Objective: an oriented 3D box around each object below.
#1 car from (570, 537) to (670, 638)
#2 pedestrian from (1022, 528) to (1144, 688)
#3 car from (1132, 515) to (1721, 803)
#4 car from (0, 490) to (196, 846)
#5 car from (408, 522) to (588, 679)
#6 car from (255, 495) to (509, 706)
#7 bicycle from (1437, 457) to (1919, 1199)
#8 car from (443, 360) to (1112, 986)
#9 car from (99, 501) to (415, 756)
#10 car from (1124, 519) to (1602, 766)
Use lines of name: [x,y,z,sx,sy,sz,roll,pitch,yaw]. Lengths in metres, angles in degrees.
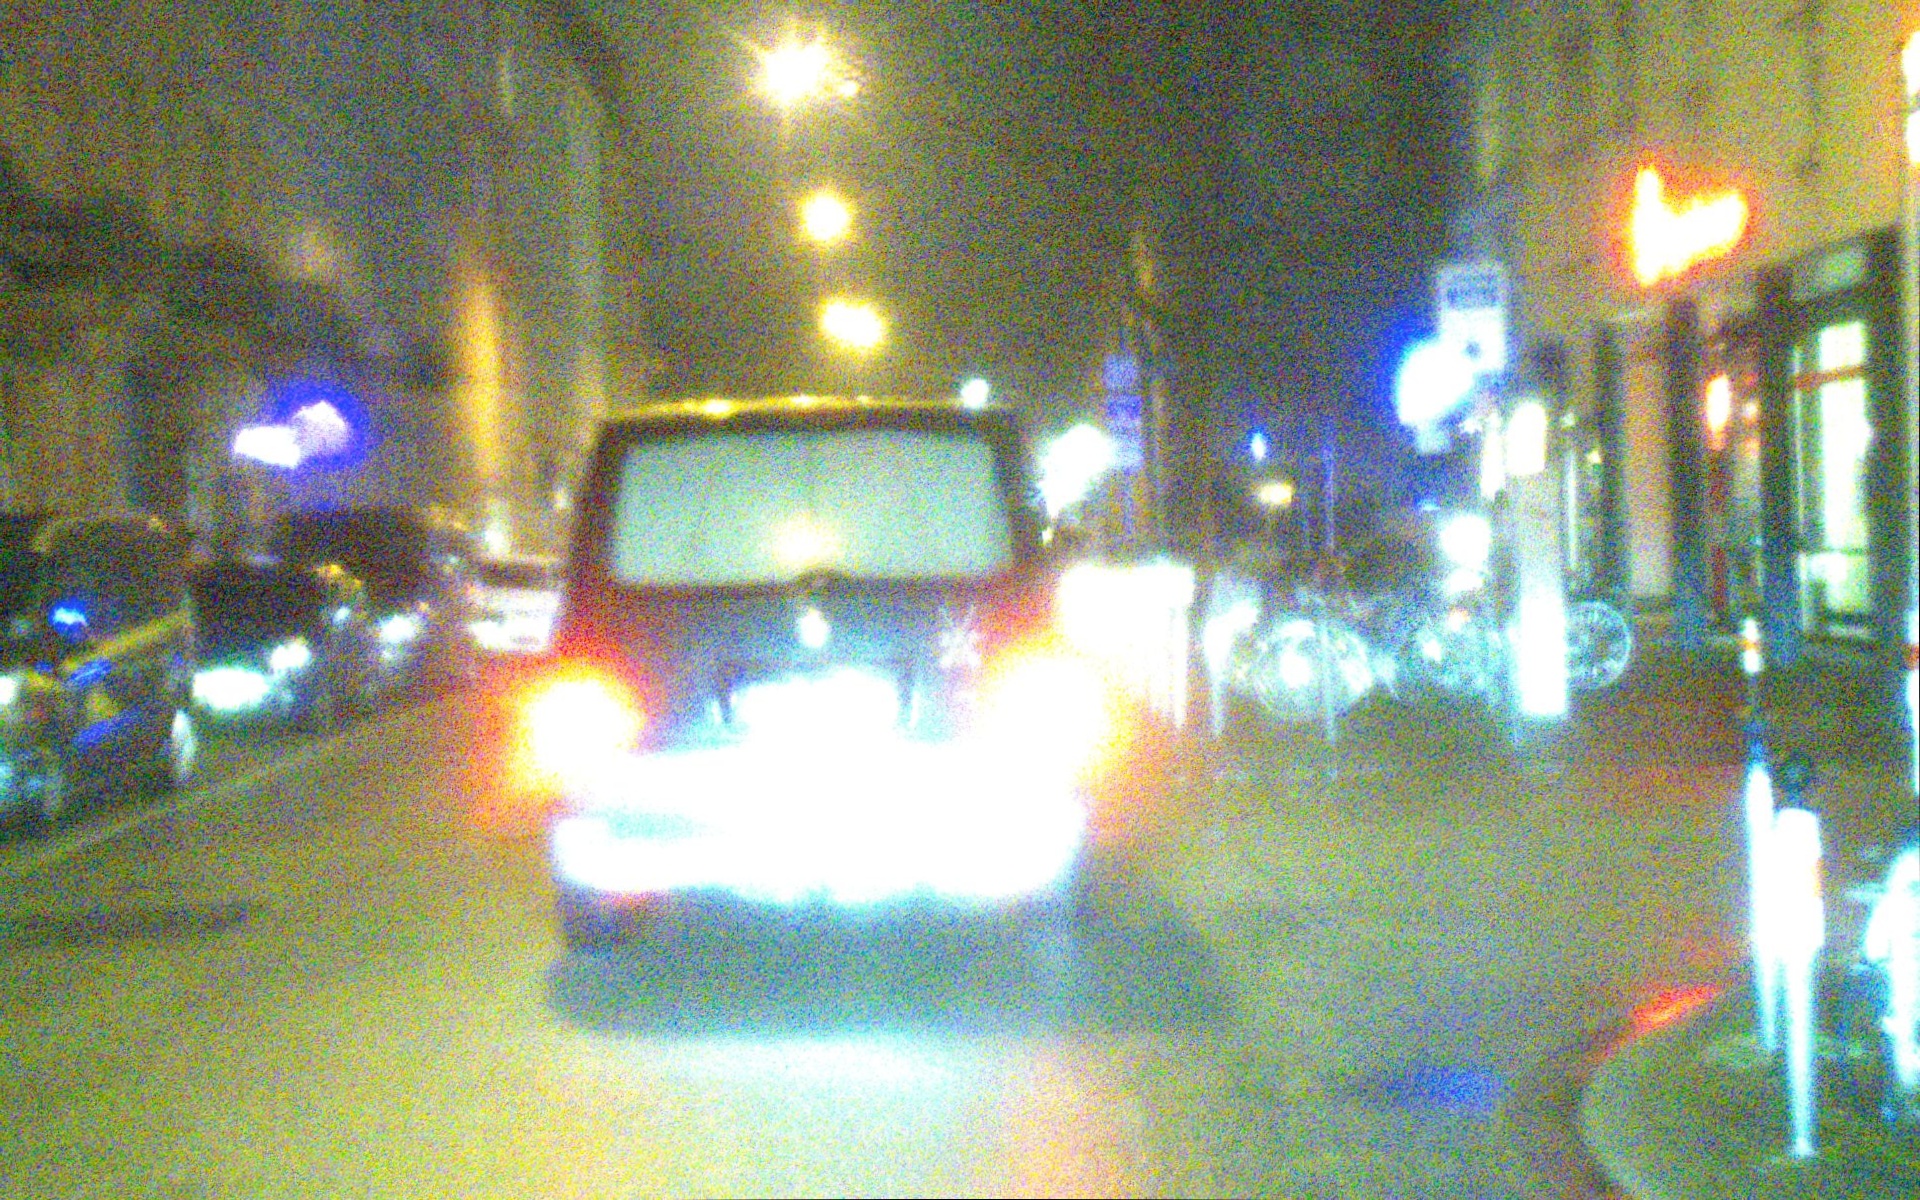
car: [-6.949,-0.266,70.544,1.749,2.007,4.000,0,1,-2]
pedestrian: [1.328,0.087,37.295,1.226,1.670,0.697,-2,-1,-1]
car: [3.588,0.432,26.671,3.986,2.007,2.000,-2,0,-17]
car: [-5.796,0.327,19.920,1.993,1.856,4.094,0,1,-3]
car: [-6.188,-0.013,46.441,1.993,2.007,4.000,0,1,-2]
car: [-5.812,-0.014,35.001,1.993,2.007,4.000,0,1,-1]
bicycle: [2.362,0.480,8.008,2.321,1.633,0.888,-5,0,10]
car: [-0.677,0.190,13.380,2.122,1.984,4.601,-1,1,-2]
car: [-5.894,0.205,29.291,1.993,2.007,4.000,0,1,-2]
car: [3.556,0.376,30.921,3.987,2.007,2.000,-2,0,0]
